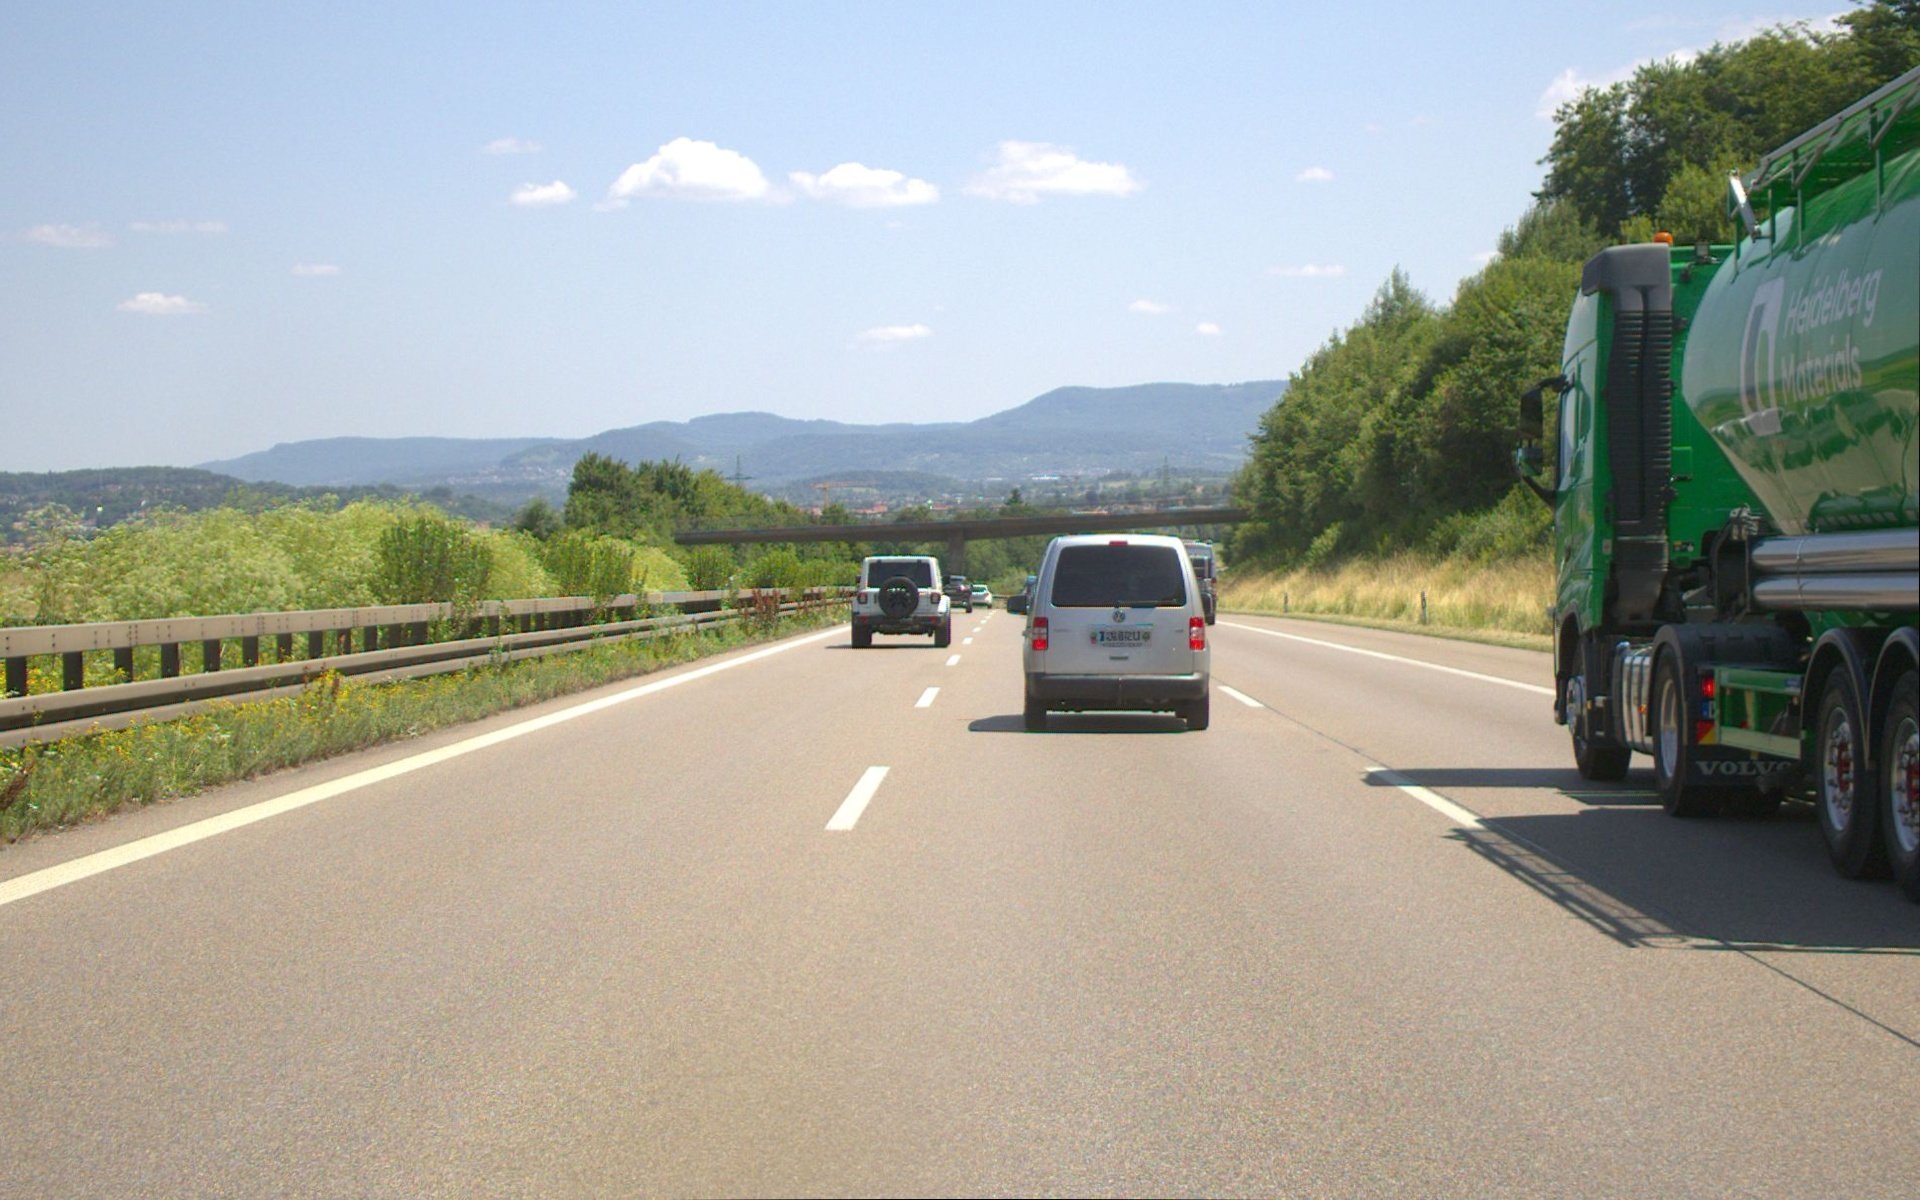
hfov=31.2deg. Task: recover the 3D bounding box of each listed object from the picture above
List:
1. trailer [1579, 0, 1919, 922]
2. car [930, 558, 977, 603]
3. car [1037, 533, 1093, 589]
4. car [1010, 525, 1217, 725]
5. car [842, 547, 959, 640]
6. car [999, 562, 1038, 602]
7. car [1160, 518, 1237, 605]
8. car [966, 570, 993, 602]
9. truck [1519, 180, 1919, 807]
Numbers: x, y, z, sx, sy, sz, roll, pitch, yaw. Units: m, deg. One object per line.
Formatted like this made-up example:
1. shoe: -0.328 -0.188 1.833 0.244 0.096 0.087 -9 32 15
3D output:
1. trailer: 5.438 -0.705 18.208 2.587 4.014 10.470 0 1 1
2. car: -0.278 -0.890 154.902 1.993 2.007 4.000 0 1 1
3. car: 3.845 -1.441 126.521 1.993 2.007 4.000 0 1 1
4. car: 1.441 0.186 33.817 1.745 1.823 4.801 0 1 -1
5. car: -1.180 -0.166 70.022 2.083 1.823 4.753 0 1 3
6. car: 3.018 -0.954 176.838 1.993 2.007 4.000 0 1 1
7. car: 7.282 -1.212 105.373 2.089 2.567 6.622 0 1 2
8. car: 1.266 -0.924 221.900 1.698 2.007 3.822 0 1 2
9. truck: 5.494 -0.695 23.484 2.509 3.828 4.893 0 1 0
